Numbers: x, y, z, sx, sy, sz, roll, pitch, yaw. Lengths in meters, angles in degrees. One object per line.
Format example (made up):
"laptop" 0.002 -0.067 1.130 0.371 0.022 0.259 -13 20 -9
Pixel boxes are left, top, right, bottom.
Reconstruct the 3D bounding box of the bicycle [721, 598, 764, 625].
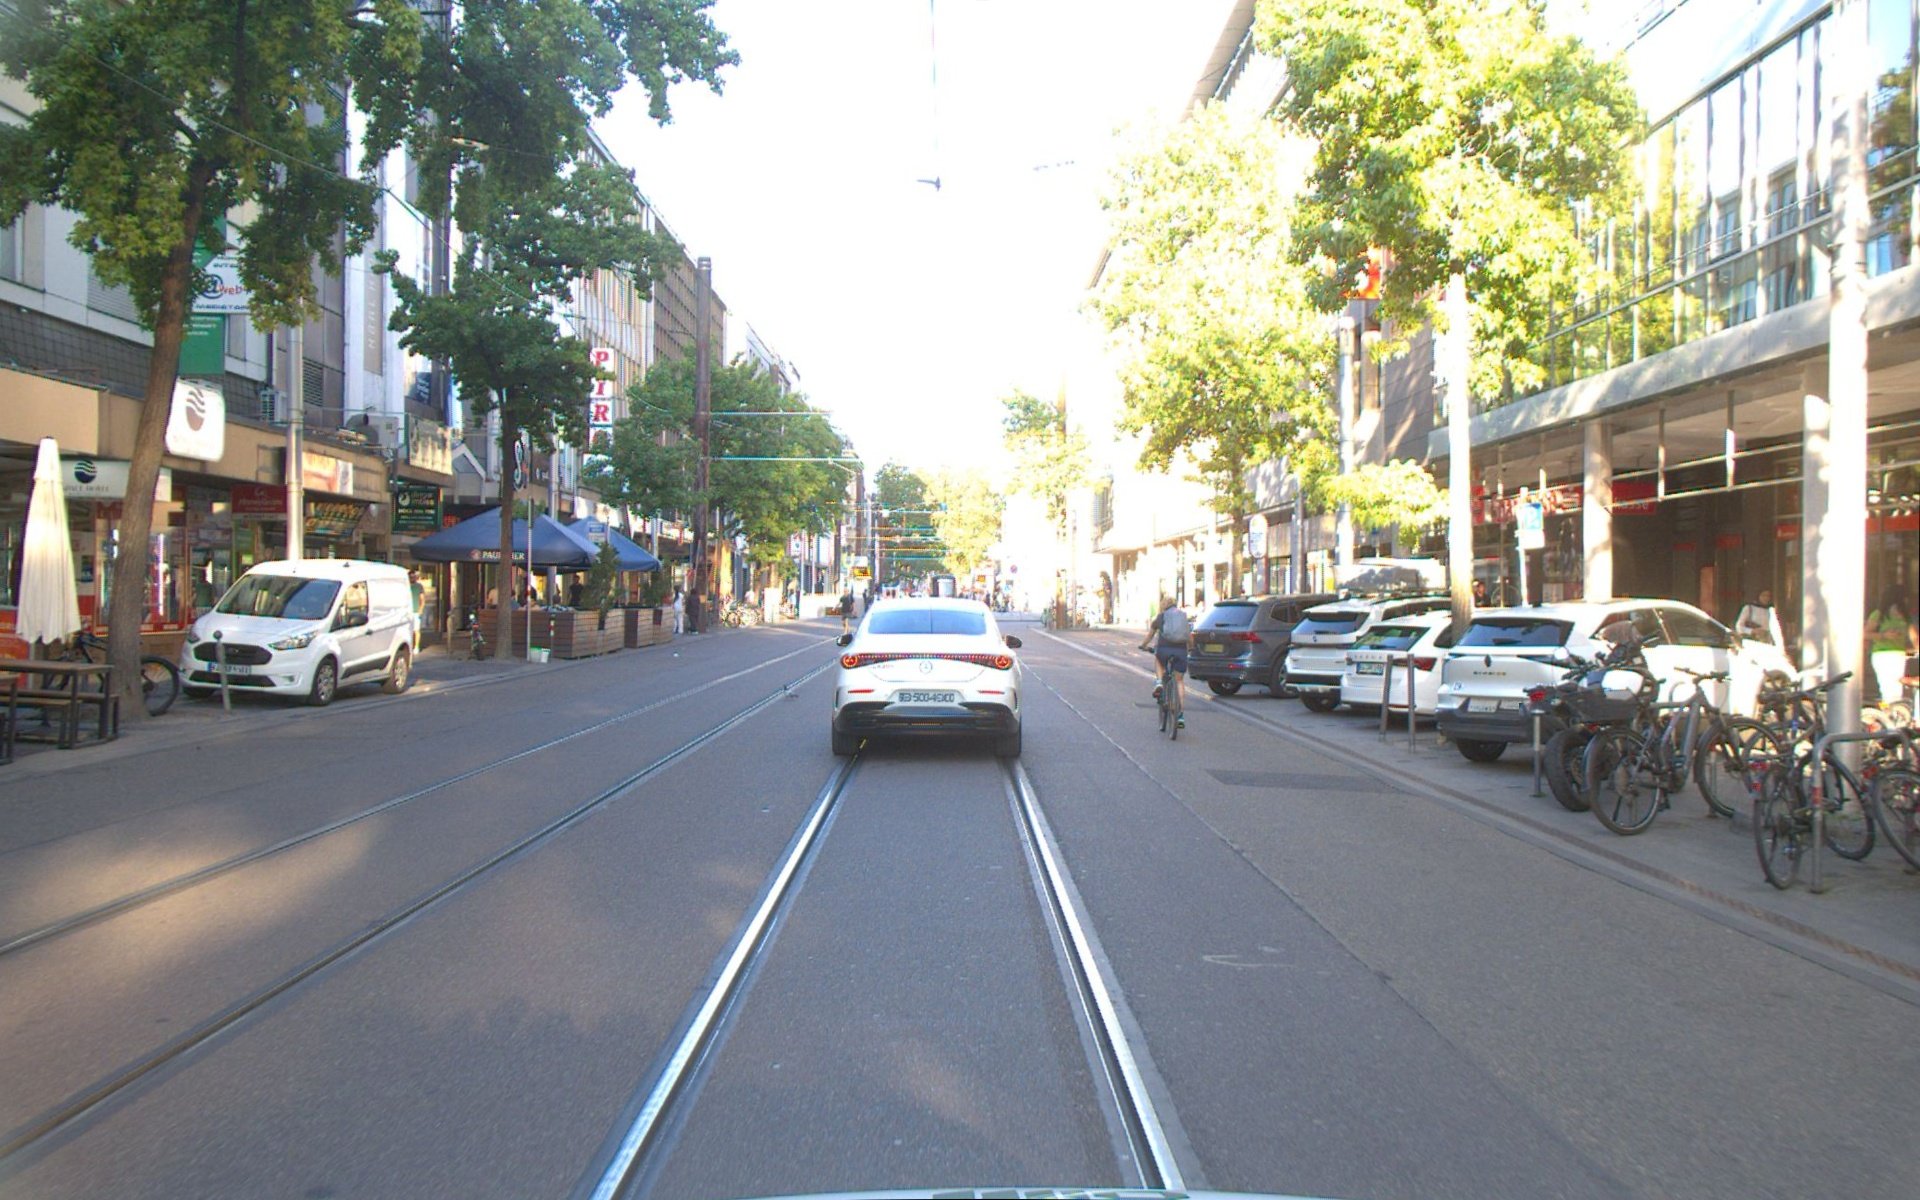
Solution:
"bicycle" -9.170 0.473 69.775 1.754 1.096 0.377 2 0 -5

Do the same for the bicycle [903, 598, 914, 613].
"bicycle" -4.110 0.445 131.736 0.784 1.162 2.256 2 0 -2

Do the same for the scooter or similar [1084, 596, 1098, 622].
"scooter or similar" 6.463 0.447 81.652 0.482 1.299 0.658 -1 0 -12

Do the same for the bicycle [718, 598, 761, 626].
"bicycle" -9.231 0.509 69.305 1.754 1.096 0.377 2 0 -5

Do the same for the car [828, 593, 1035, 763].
"car" -0.273 0.680 16.641 1.819 1.481 4.174 0 0 -1

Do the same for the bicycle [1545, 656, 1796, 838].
"bicycle" 5.177 1.026 12.018 1.870 1.139 0.661 -2 -1 -30

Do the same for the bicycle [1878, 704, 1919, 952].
"bicycle" 5.208 1.039 7.821 1.543 1.107 0.860 -3 2 -31

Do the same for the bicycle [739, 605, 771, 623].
"bicycle" -9.660 0.678 77.930 1.462 0.797 0.344 2 0 1

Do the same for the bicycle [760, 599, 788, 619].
"bicycle" -9.978 0.496 88.645 1.466 1.047 0.344 2 0 -11

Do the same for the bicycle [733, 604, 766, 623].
"bicycle" -9.810 0.627 77.193 1.462 0.855 0.344 2 0 1

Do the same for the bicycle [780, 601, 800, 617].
"bicycle" -11.262 0.607 109.824 0.703 1.027 2.041 0 0 13

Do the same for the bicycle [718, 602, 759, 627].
"bicycle" -8.882 0.586 66.446 1.562 0.947 0.377 2 0 6

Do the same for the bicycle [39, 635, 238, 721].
"bicycle" -9.344 0.867 18.869 0.821 0.880 1.852 3 0 38

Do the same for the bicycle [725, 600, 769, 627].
"bicycle" -9.146 0.578 70.976 1.810 1.096 0.377 2 0 -5

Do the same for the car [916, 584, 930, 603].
"car" -5.584 -0.974 248.860 2.056 2.948 5.274 0 0 0

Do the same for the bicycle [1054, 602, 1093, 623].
"bicycle" 6.288 0.695 91.676 2.076 1.115 0.608 0 0 -12

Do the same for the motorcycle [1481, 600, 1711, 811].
"motorcycle" 5.261 0.807 13.586 2.302 1.536 0.845 -2 -1 -45

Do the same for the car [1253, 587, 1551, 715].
"car" 6.518 0.696 24.281 4.195 1.615 1.864 -2 0 -32

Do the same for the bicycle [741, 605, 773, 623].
"bicycle" -9.662 0.682 78.596 1.462 0.797 0.344 2 0 1

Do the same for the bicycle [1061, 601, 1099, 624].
"bicycle" 6.257 0.655 86.352 1.874 1.177 0.608 -1 0 -12

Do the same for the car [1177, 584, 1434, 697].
"car" 5.894 0.645 28.090 4.300 1.681 1.676 -2 0 -32

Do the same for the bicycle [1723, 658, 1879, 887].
"bicycle" 5.143 0.997 10.069 0.472 1.183 1.687 -3 0 39

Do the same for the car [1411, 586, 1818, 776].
"car" 6.689 0.724 16.786 4.110 1.598 1.832 -2 1 -34

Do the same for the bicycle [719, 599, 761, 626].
"bicycle" -9.769 0.548 73.518 1.808 1.160 0.377 2 0 1

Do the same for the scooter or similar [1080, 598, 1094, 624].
"scooter or similar" 6.311 0.540 82.444 0.518 1.299 0.658 -1 0 -12

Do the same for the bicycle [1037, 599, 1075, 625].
"bicycle" 5.069 0.612 87.146 1.874 1.303 0.608 -1 0 -12

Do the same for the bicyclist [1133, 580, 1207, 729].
"bicyclist" 2.435 0.613 19.117 0.761 1.641 0.913 2 0 8

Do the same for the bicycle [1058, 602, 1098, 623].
"bicycle" 6.375 0.689 89.478 2.077 1.115 0.608 0 0 -14

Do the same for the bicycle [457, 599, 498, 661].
"bicycle" -9.828 0.596 33.650 0.687 1.140 2.076 3 1 -18

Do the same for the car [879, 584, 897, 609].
"car" -8.633 -0.456 197.955 1.953 2.948 5.274 0 0 0

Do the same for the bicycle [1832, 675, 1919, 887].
"bicycle" 6.015 1.009 9.796 1.669 1.125 0.626 -3 0 -27

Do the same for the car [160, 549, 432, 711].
"car" -8.881 0.365 22.592 1.759 1.897 4.553 3 0 0

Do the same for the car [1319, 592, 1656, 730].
"car" 6.831 0.730 21.392 4.093 1.525 1.676 -2 0 -25

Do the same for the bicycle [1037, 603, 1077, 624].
"bicycle" 5.280 0.721 90.133 2.076 1.115 0.608 1 -1 -12

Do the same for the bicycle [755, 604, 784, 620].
"bicycle" -10.003 0.640 86.878 1.462 0.797 0.344 2 0 1

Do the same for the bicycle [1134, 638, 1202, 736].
"bicycle" 2.459 0.987 19.381 0.703 1.012 2.060 2 0 8
